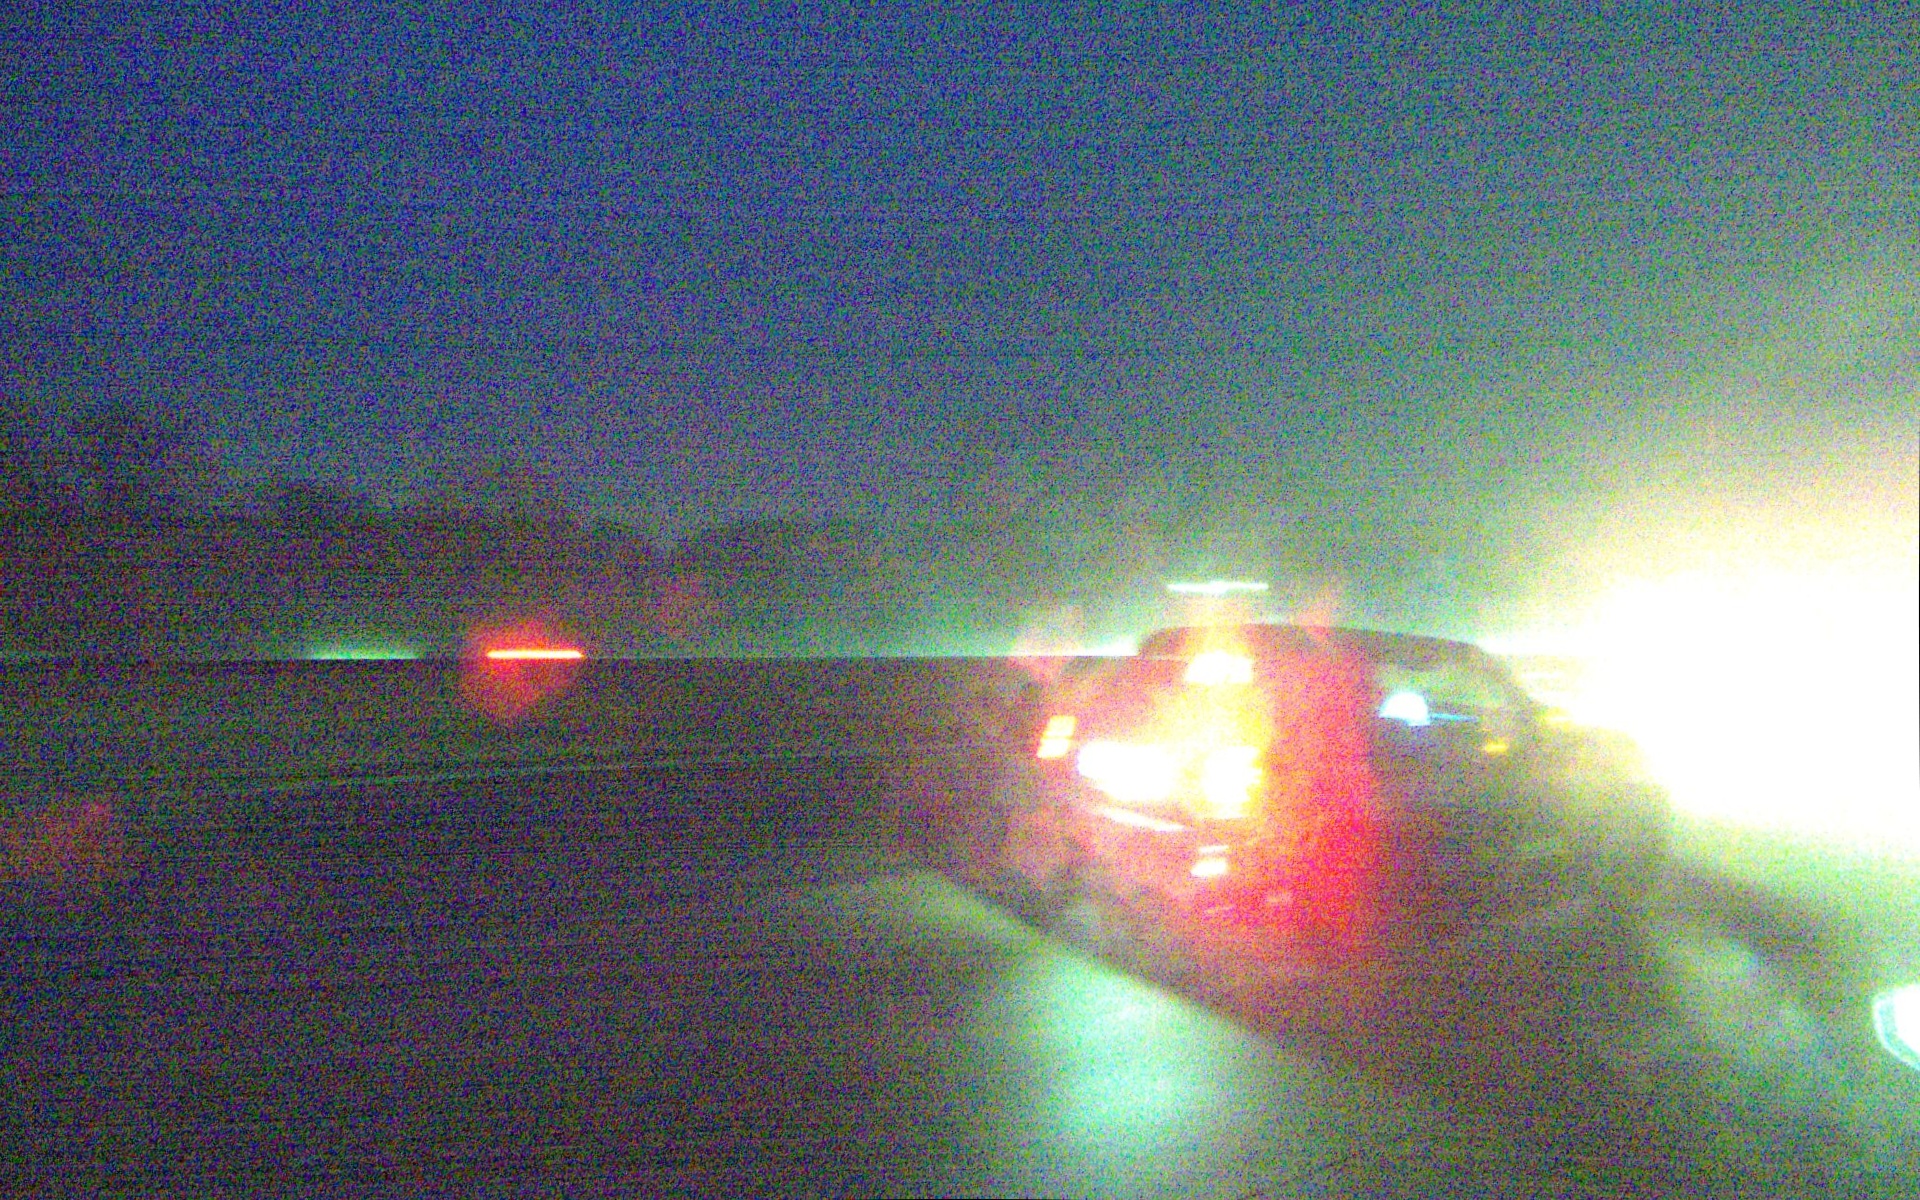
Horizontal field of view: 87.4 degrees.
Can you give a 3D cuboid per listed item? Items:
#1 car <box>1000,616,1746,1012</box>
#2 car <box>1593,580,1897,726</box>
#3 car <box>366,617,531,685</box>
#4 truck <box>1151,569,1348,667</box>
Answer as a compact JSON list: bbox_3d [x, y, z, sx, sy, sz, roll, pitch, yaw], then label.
[{"bbox_3d":[2.425,0.856,5.552,4.198,1.450,1.648,1,-1,-31],"label":"car"},{"bbox_3d":[13.342,0.848,16.987,5.562,2.132,2.113,2,-1,-30],"label":"car"},{"bbox_3d":[-13.900,1.384,27.367,3.841,1.695,1.754,2,0,-30],"label":"car"},{"bbox_3d":[9.812,0.649,33.859,6.624,3.039,2.439,2,0,-30],"label":"truck"}]
